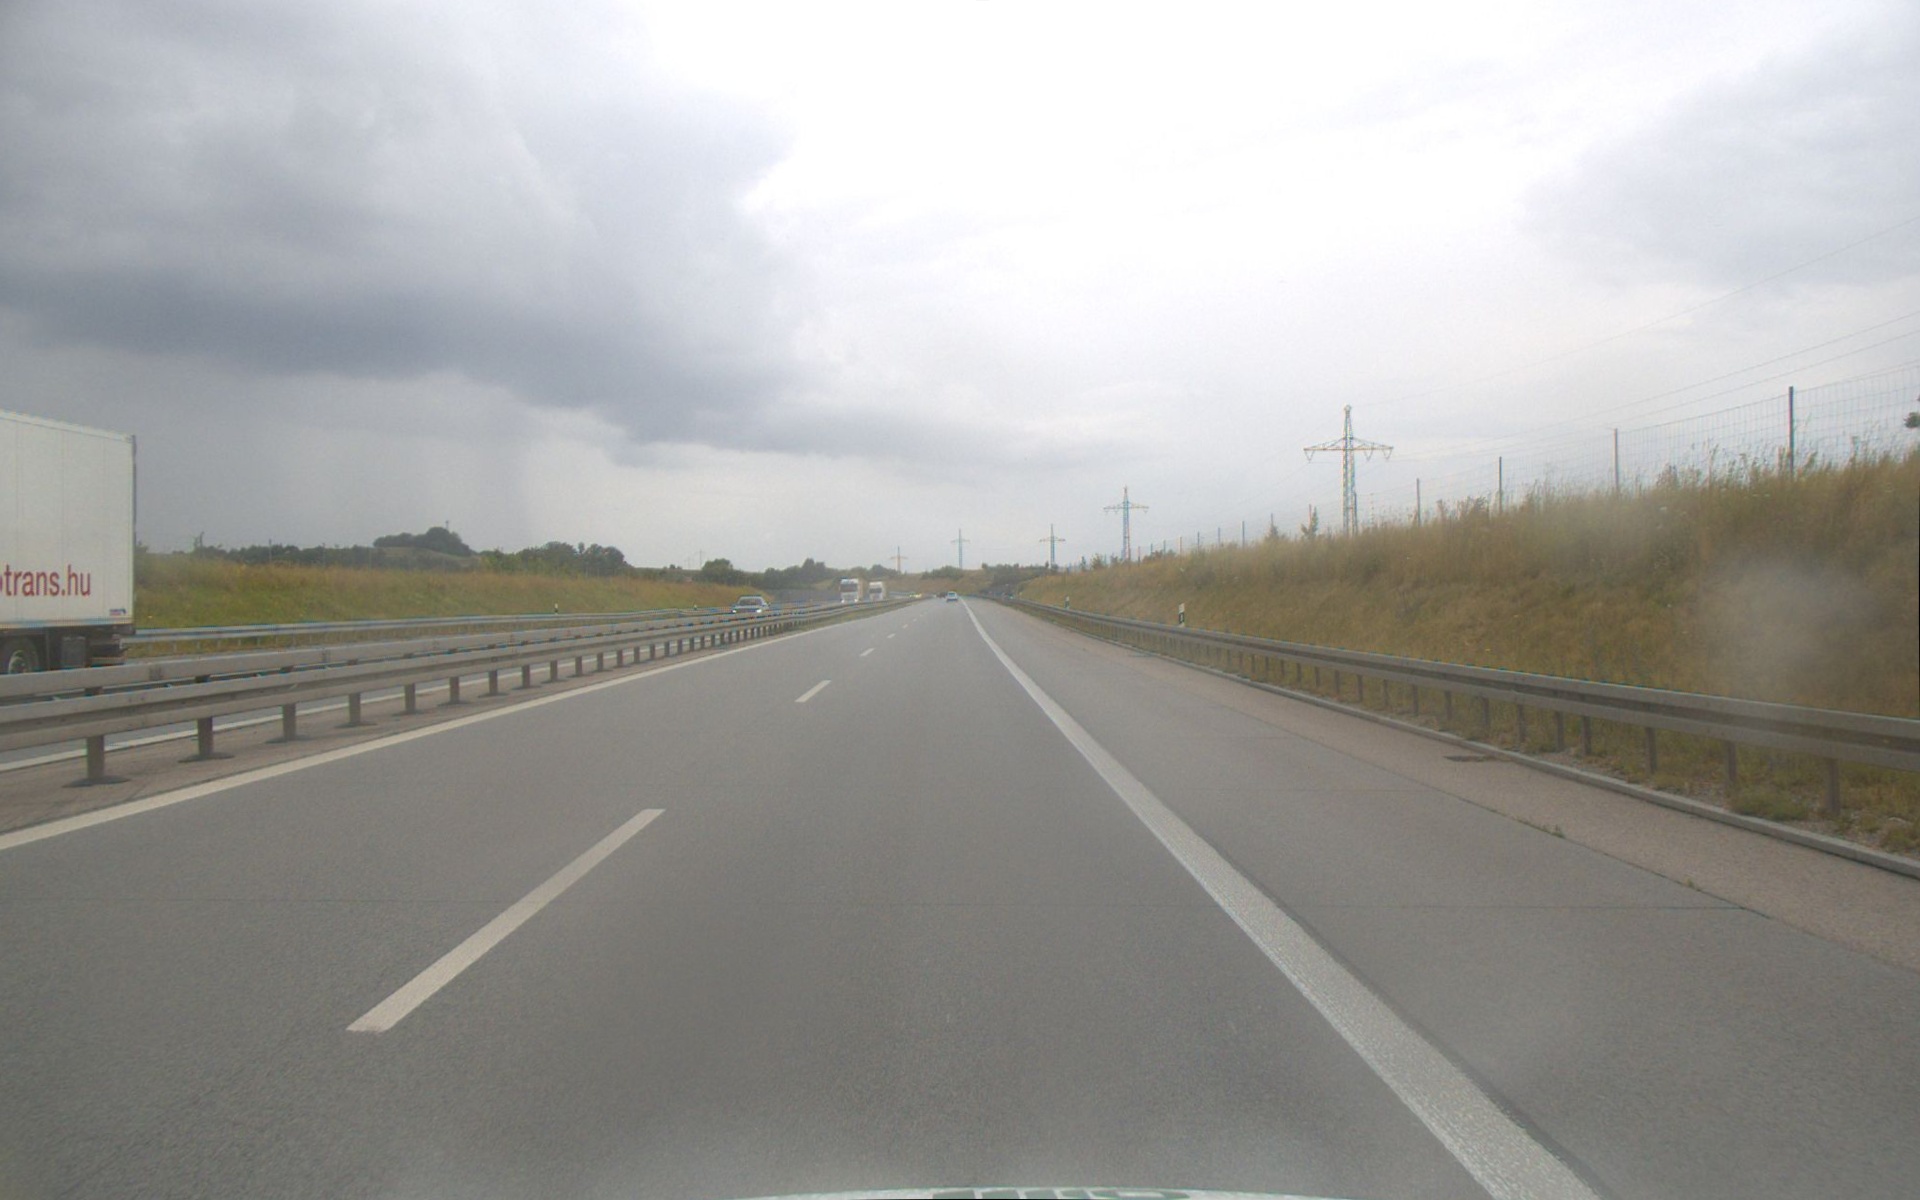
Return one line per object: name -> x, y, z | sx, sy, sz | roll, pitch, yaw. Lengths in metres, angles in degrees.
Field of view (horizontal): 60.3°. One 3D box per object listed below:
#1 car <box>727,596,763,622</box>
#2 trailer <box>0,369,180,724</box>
car -> -12.332, 0.519, 95.107 | 1.728, 1.449, 3.998 | 0, 0, -3
trailer -> -14.091, -0.699, 19.760 | 2.738, 4.731, 14.844 | 0, 0, -1
